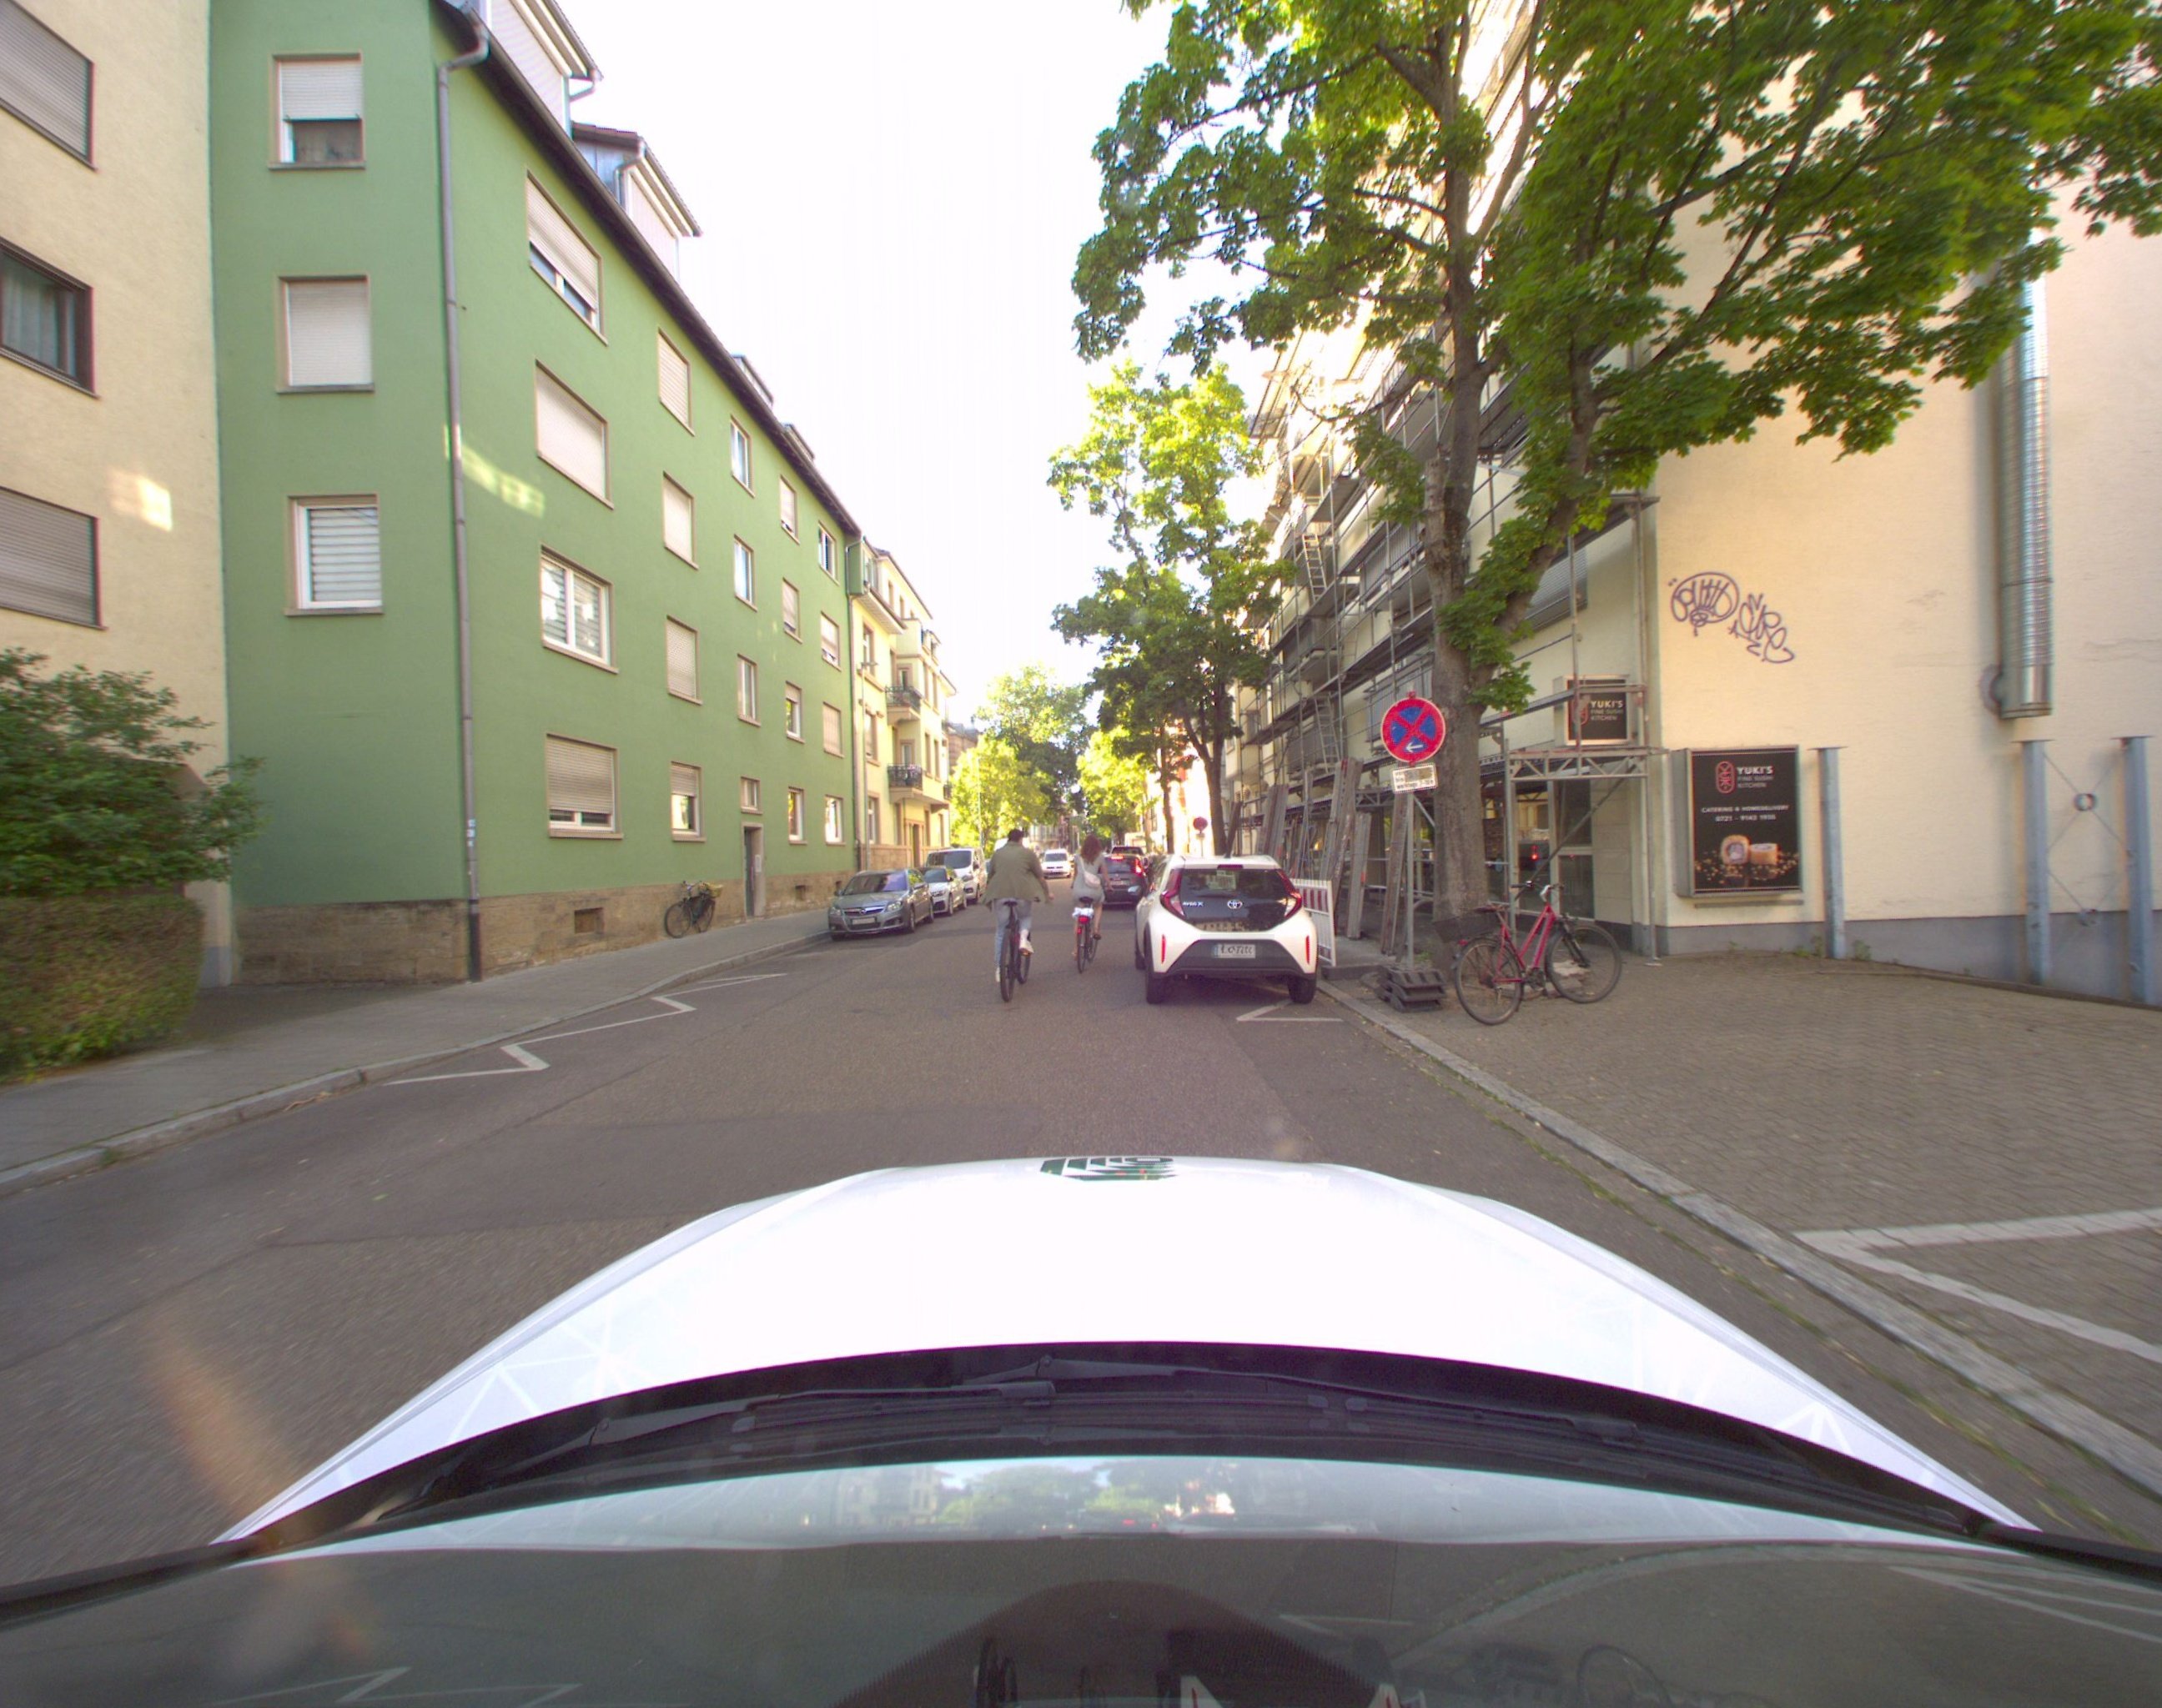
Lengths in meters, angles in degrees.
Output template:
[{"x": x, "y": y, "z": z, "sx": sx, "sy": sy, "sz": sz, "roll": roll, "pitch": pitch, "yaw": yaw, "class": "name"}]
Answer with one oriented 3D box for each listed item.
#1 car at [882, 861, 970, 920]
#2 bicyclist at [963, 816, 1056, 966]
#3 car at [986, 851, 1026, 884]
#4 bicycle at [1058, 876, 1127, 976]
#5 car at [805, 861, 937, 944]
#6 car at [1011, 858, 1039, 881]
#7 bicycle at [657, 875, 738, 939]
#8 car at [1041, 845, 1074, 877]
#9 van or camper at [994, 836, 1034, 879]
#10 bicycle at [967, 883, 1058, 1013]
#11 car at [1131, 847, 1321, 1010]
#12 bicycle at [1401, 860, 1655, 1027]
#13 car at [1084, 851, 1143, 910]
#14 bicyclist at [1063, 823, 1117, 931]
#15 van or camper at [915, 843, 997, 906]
[{"x": -4.439, "y": 1.013, "z": 23.817, "sx": 1.680, "sy": 1.453, "sz": 3.712, "roll": -3, "pitch": 0, "yaw": 1, "class": "car"}, {"x": -0.779, "y": 0.415, "z": 9.137, "sx": 0.878, "sy": 1.562, "sz": 0.868, "roll": -3, "pitch": -3, "yaw": 1, "class": "bicyclist"}, {"x": -4.111, "y": 0.703, "z": 45.177, "sx": 1.705, "sy": 1.699, "sz": 4.000, "roll": -2, "pitch": 0, "yaw": 1, "class": "car"}, {"x": 0.112, "y": 0.921, "z": 11.200, "sx": 0.837, "sy": 1.149, "sz": 2.231, "roll": -1, "pitch": 0, "yaw": -2, "class": "bicycle"}, {"x": -4.659, "y": 1.012, "z": 18.706, "sx": 1.974, "sy": 1.455, "sz": 4.110, "roll": -6, "pitch": 0, "yaw": -3, "class": "car"}, {"x": -4.246, "y": 1.164, "z": 61.982, "sx": 1.705, "sy": 1.560, "sz": 4.000, "roll": -2, "pitch": 0, "yaw": 1, "class": "car"}, {"x": -8.003, "y": 1.064, "z": 17.111, "sx": 0.548, "sy": 1.178, "sz": 2.279, "roll": 1, "pitch": 0, "yaw": 2, "class": "bicycle"}, {"x": -1.434, "y": 0.424, "z": 51.617, "sx": 1.775, "sy": 1.861, "sz": 4.201, "roll": -2, "pitch": 0, "yaw": 2, "class": "car"}, {"x": -4.146, "y": 0.193, "z": 51.180, "sx": 1.987, "sy": 2.553, "sz": 5.022, "roll": -2, "pitch": 0, "yaw": 0, "class": "van or camper"}, {"x": -0.698, "y": 0.939, "z": 8.955, "sx": 0.837, "sy": 1.149, "sz": 2.231, "roll": -2, "pitch": 0, "yaw": -2, "class": "bicycle"}, {"x": 1.506, "y": 0.716, "z": 9.589, "sx": 1.669, "sy": 1.545, "sz": 3.404, "roll": -1, "pitch": 0, "yaw": 1, "class": "car"}, {"x": 3.914, "y": 0.719, "z": 7.141, "sx": 1.985, "sy": 1.165, "sz": 0.722, "roll": -5, "pitch": 1, "yaw": -18, "class": "bicycle"}, {"x": 0.934, "y": 0.684, "z": 23.268, "sx": 1.550, "sy": 1.533, "sz": 3.489, "roll": 0, "pitch": 1, "yaw": 2, "class": "car"}, {"x": 0.104, "y": 0.325, "z": 11.029, "sx": 0.621, "sy": 1.381, "sz": 0.867, "roll": -2, "pitch": -4, "yaw": -3, "class": "bicyclist"}, {"x": -4.405, "y": 0.673, "z": 29.576, "sx": 1.986, "sy": 2.013, "sz": 4.913, "roll": -3, "pitch": 0, "yaw": 1, "class": "van or camper"}]
